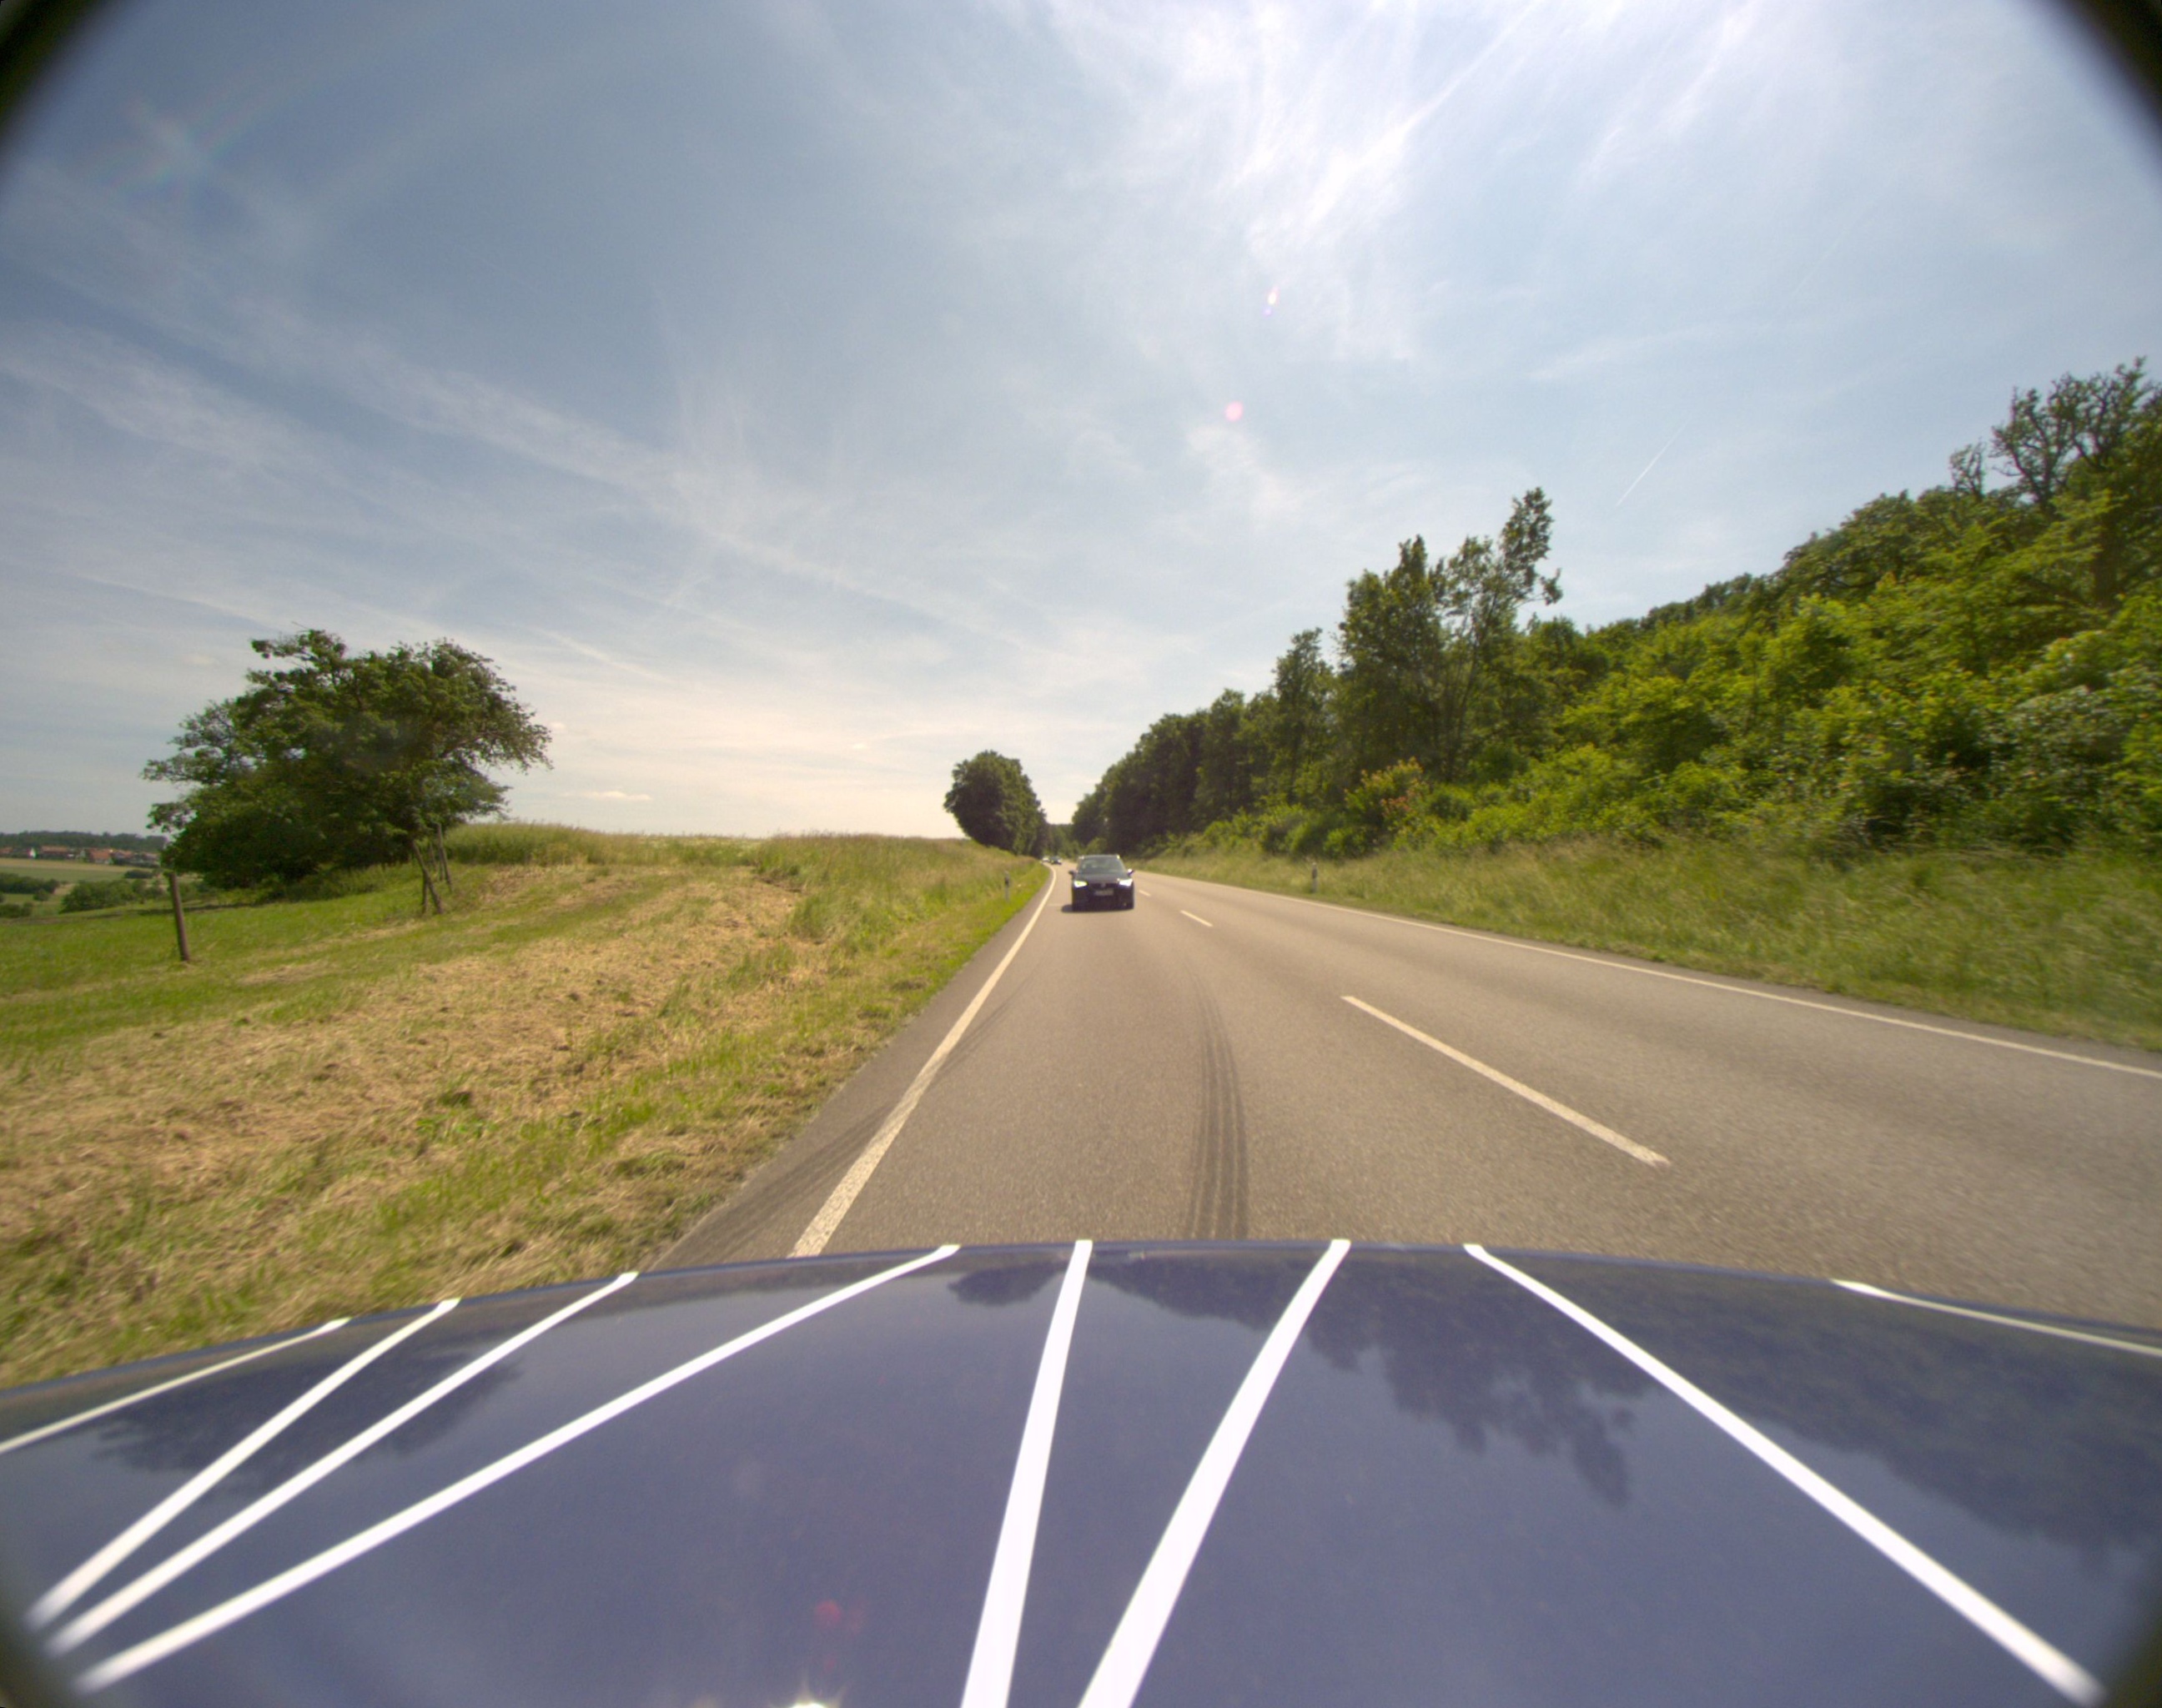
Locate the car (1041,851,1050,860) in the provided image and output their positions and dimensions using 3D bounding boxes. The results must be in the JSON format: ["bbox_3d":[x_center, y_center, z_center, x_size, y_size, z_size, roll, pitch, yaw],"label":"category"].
[{"bbox_3d":[-8.588,0.287,184.682,1.999,2.002,3.999,-3,0,-3],"label":"car"}]

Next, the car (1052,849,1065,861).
[{"bbox_3d":[-3.947,0.122,132.714,1.999,2.002,3.998,-3,0,-6],"label":"car"}]

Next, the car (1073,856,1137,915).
[{"bbox_3d":[0.648,0.851,22.105,1.662,1.531,3.487,-2,0,0],"label":"car"}]
